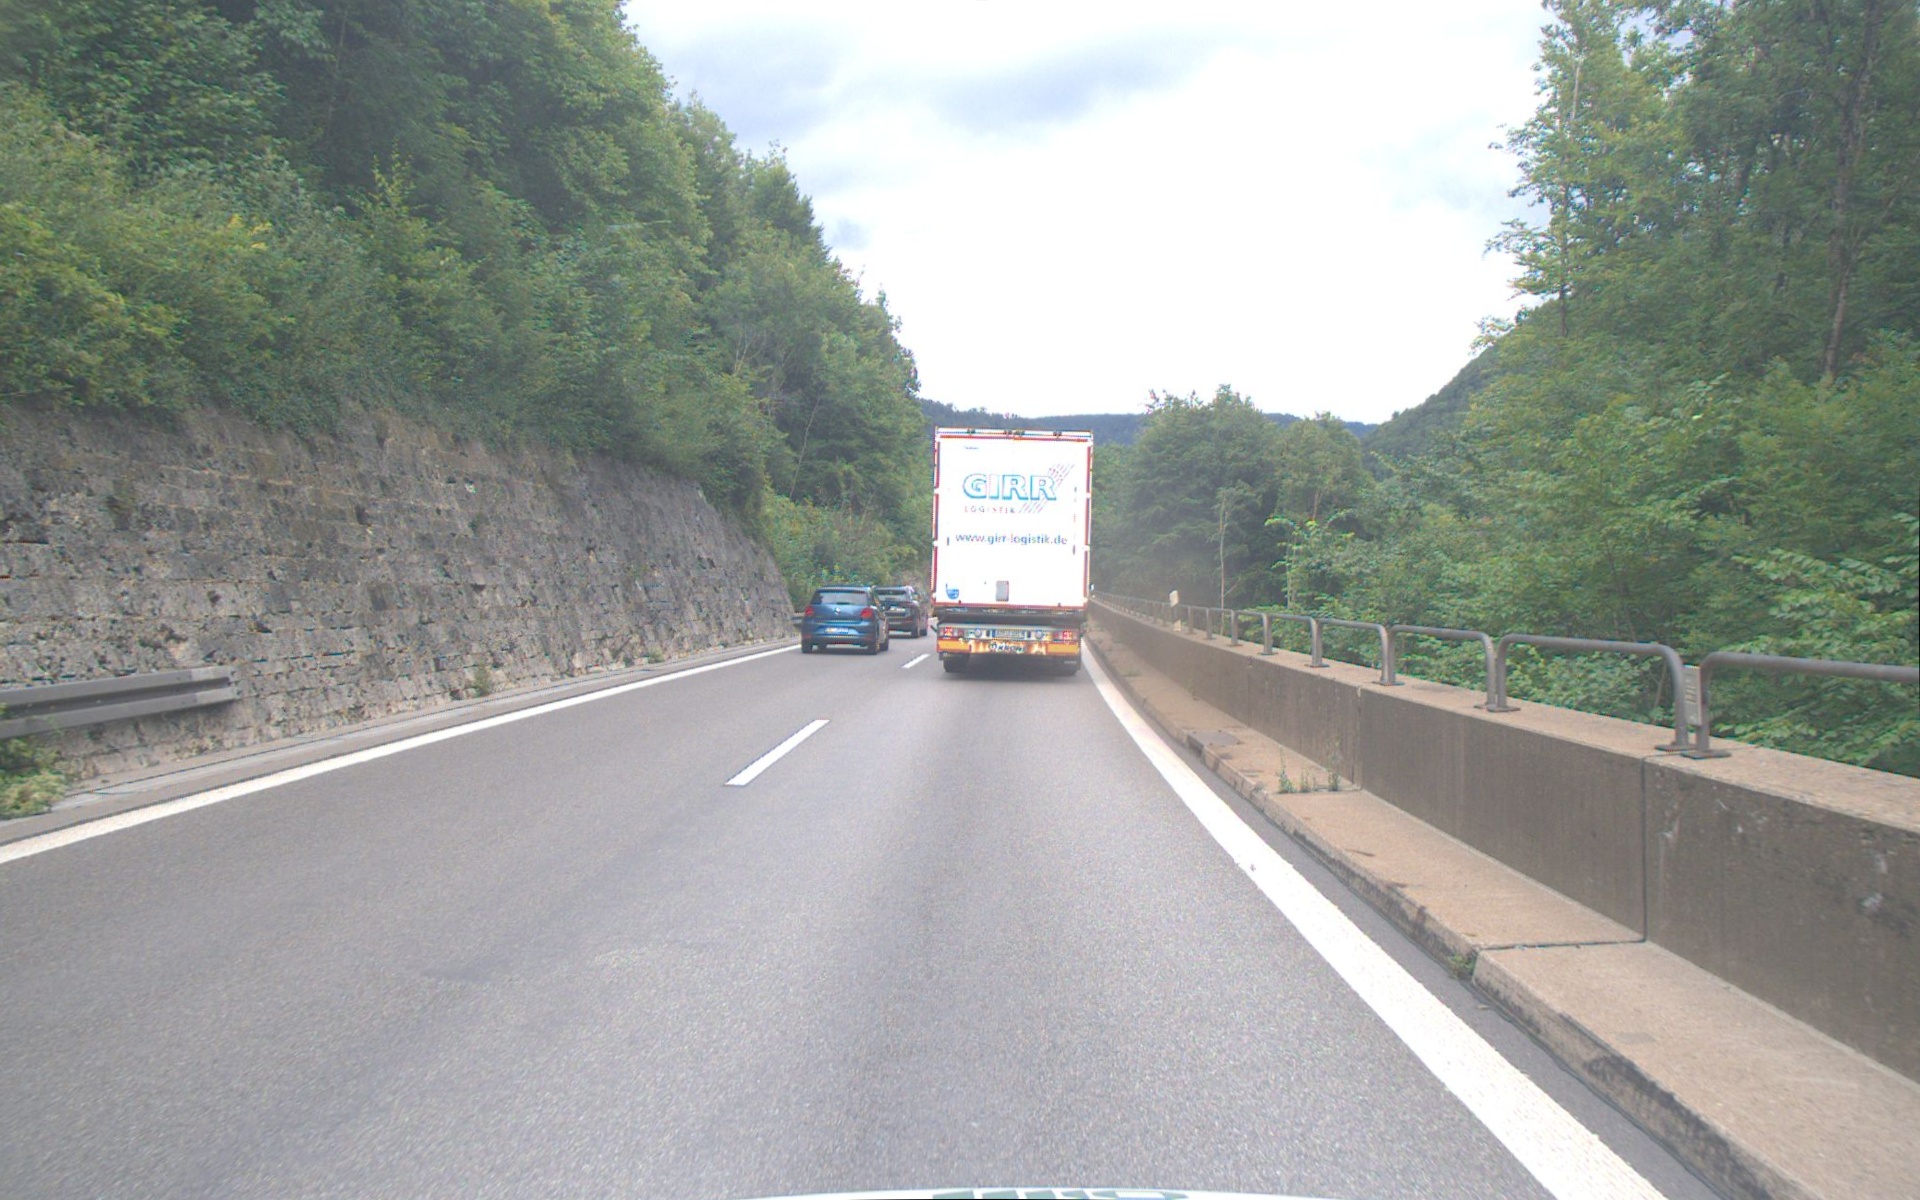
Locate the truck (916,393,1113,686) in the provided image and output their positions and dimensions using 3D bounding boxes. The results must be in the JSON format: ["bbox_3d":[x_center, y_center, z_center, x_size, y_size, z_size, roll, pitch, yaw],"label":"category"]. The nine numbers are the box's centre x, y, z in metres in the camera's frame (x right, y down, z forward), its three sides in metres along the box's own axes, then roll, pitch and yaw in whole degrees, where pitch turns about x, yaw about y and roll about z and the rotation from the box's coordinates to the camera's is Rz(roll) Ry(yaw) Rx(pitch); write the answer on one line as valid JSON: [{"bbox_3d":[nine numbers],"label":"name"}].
[{"bbox_3d":[1.163,-1.004,33.503,3.020,4.542,15.160,1,0,2],"label":"truck"}]

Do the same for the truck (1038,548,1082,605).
[{"bbox_3d":[7.146,-1.587,117.161,2.908,3.831,10.367,1,0,4],"label":"truck"}]

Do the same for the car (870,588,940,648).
[{"bbox_3d":[-1.537,0.520,47.509,1.709,1.614,4.001,1,-1,2],"label":"car"}]

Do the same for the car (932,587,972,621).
[{"bbox_3d":[-0.347,0.214,77.762,1.709,1.512,4.001,1,-1,2],"label":"car"}]

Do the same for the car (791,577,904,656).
[{"bbox_3d":[-2.420,0.319,36.581,1.952,1.624,4.356,1,1,3],"label":"car"}]
